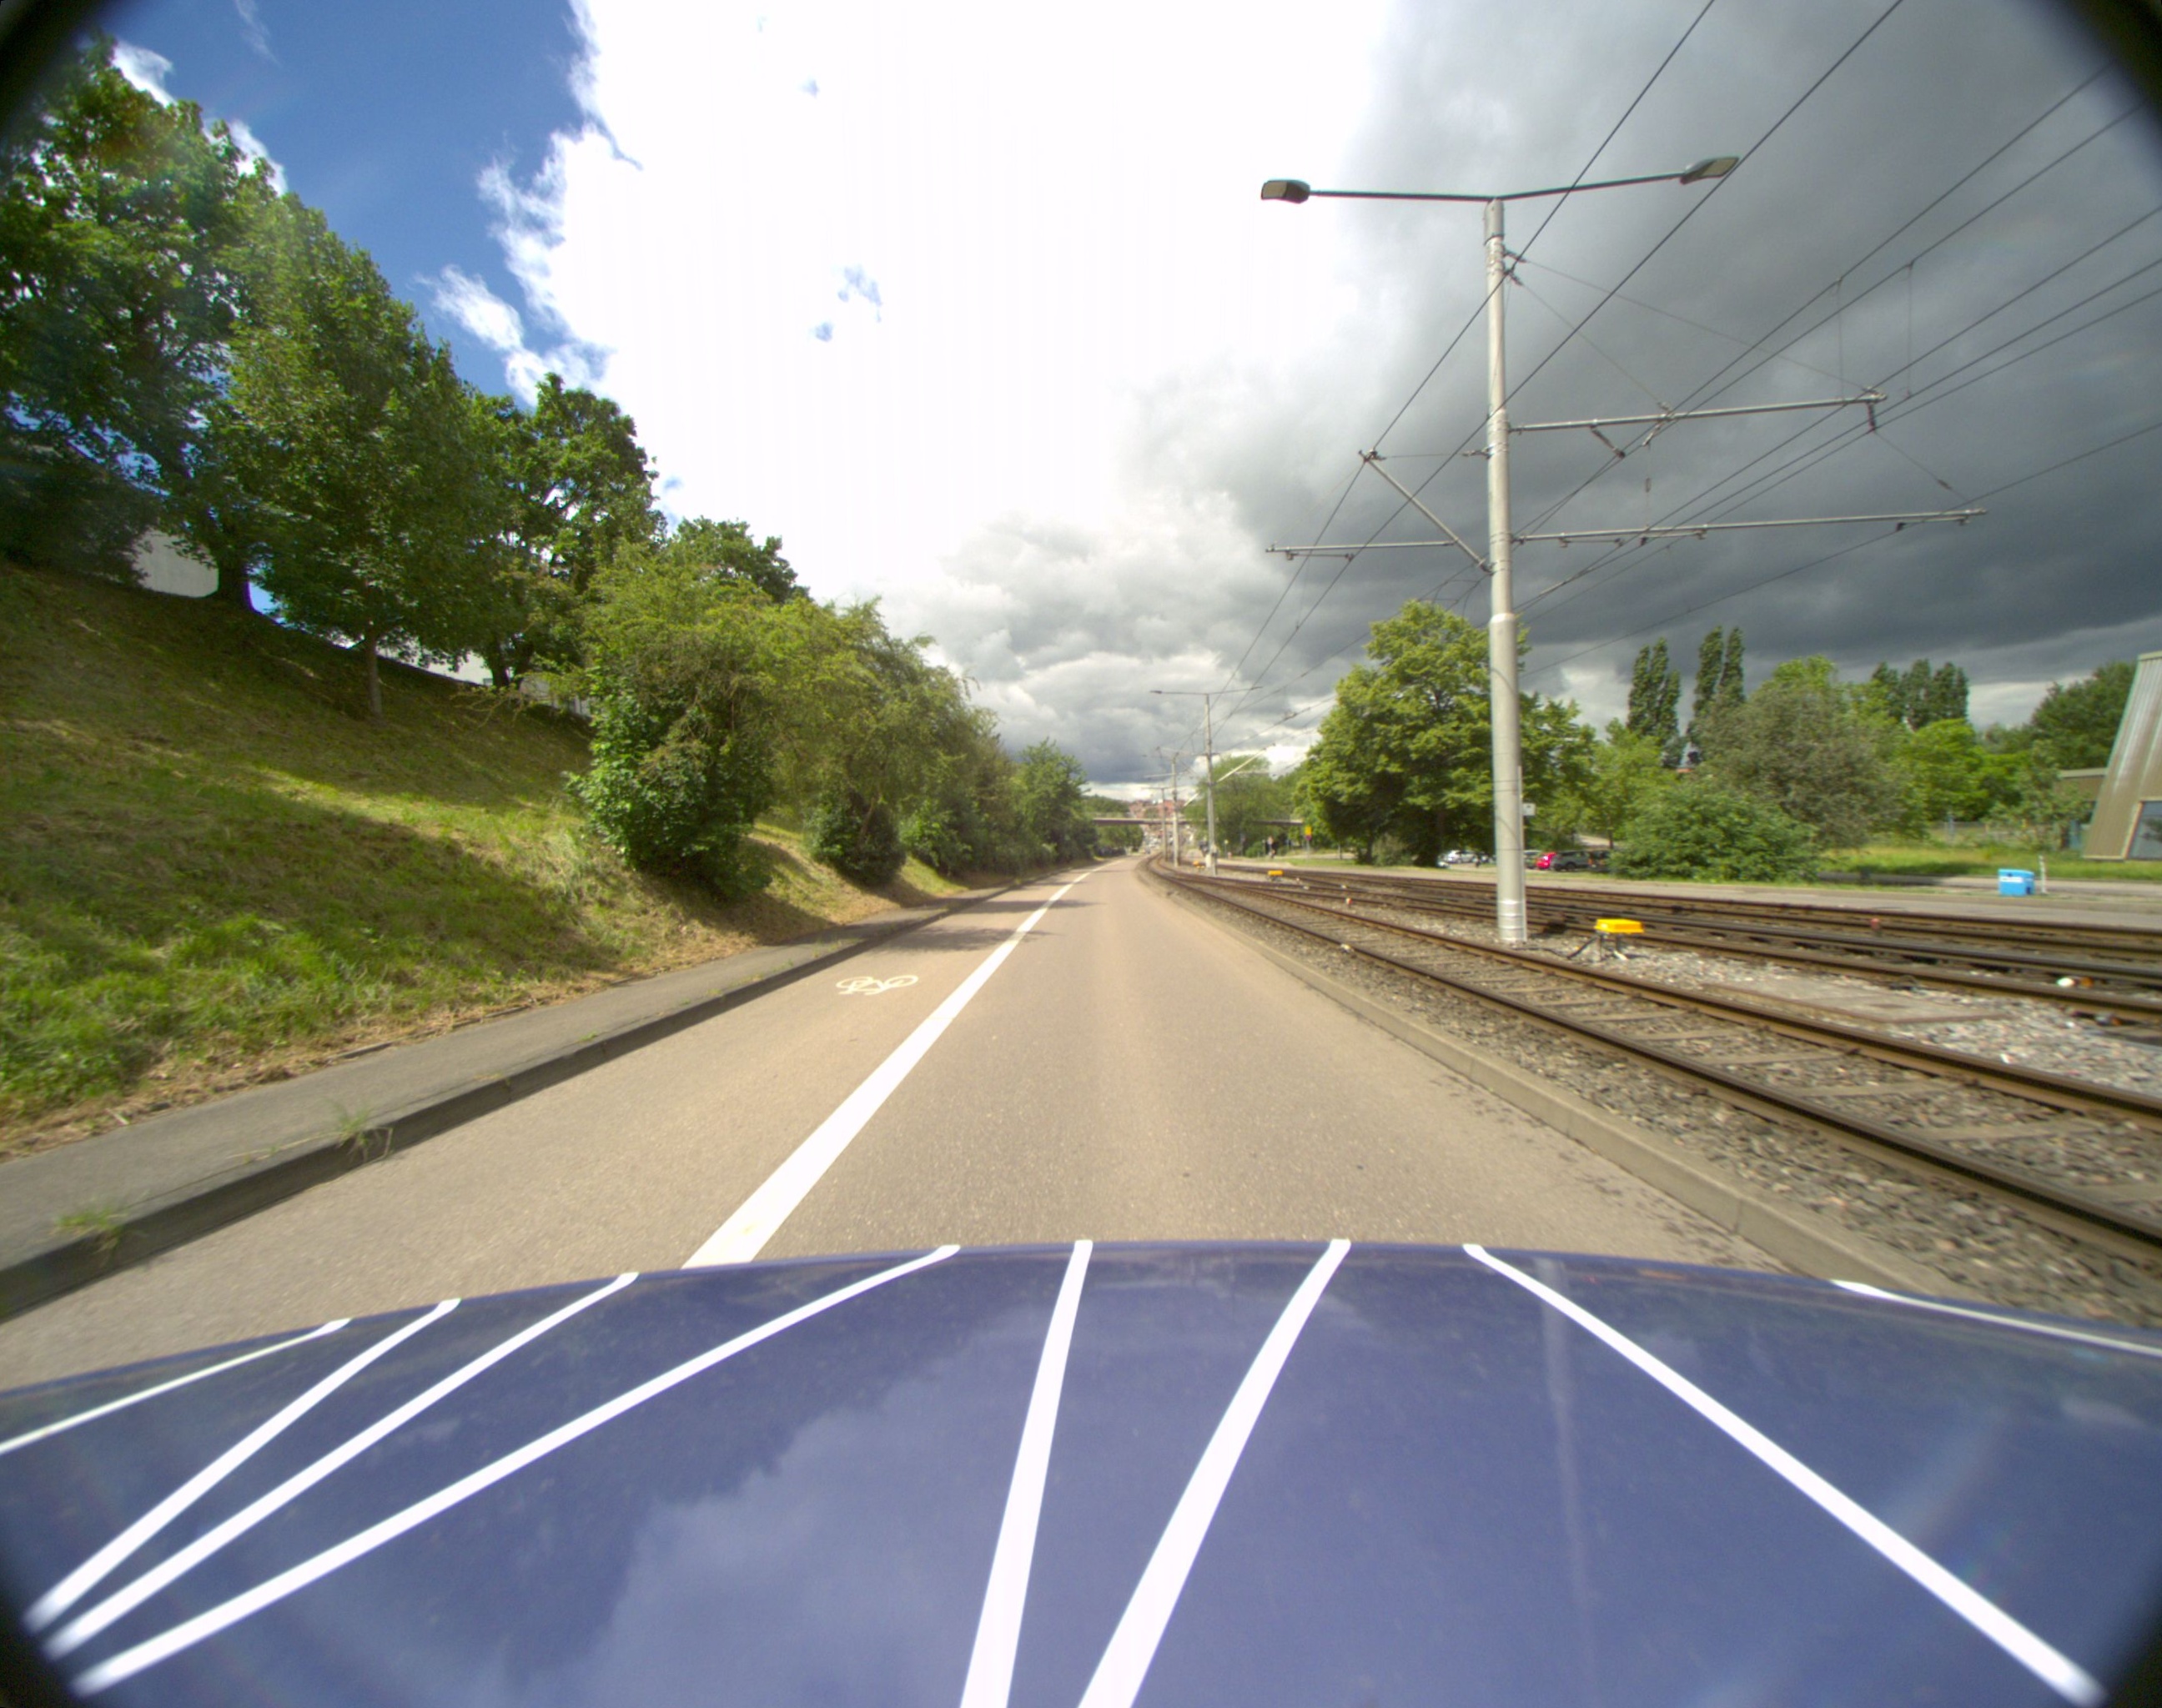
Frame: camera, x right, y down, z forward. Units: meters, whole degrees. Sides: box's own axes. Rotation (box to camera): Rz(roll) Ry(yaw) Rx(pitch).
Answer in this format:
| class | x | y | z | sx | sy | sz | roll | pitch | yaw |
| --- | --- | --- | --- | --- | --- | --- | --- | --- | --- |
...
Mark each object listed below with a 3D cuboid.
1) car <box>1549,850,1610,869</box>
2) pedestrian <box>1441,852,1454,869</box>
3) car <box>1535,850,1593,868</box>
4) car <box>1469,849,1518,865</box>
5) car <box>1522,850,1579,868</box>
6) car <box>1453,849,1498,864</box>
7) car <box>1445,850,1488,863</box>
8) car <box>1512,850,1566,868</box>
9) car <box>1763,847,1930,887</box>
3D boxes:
| class | x | y | z | sx | sy | sz | roll | pitch | yaw |
| --- | --- | --- | --- | --- | --- | --- | --- | --- | --- |
| car | 40.278 | 0.402 | 61.442 | 3.868 | 1.526 | 1.627 | 0 | 1 | 2 |
| pedestrian | 31.178 | 0.533 | 64.624 | 0.822 | 1.488 | 0.682 | 0 | 1 | -24 |
| car | 40.698 | 0.421 | 64.106 | 3.868 | 1.526 | 1.627 | 0 | 1 | 2 |
| car | 40.152 | 0.320 | 74.074 | 3.868 | 1.526 | 1.627 | 0 | 1 | 2 |
| car | 40.804 | 0.426 | 66.096 | 3.868 | 1.526 | 1.627 | 0 | 1 | 2 |
| car | 41.516 | 0.258 | 80.036 | 3.868 | 1.526 | 1.627 | 0 | 1 | 2 |
| car | 42.216 | 0.221 | 83.213 | 3.868 | 1.412 | 1.627 | 0 | 1 | 2 |
| car | 41.462 | 0.448 | 68.858 | 3.868 | 1.526 | 1.627 | 0 | 1 | 2 |
| car | 27.550 | 0.448 | 27.481 | 3.928 | 1.401 | 1.761 | 0 | 1 | 12 |
